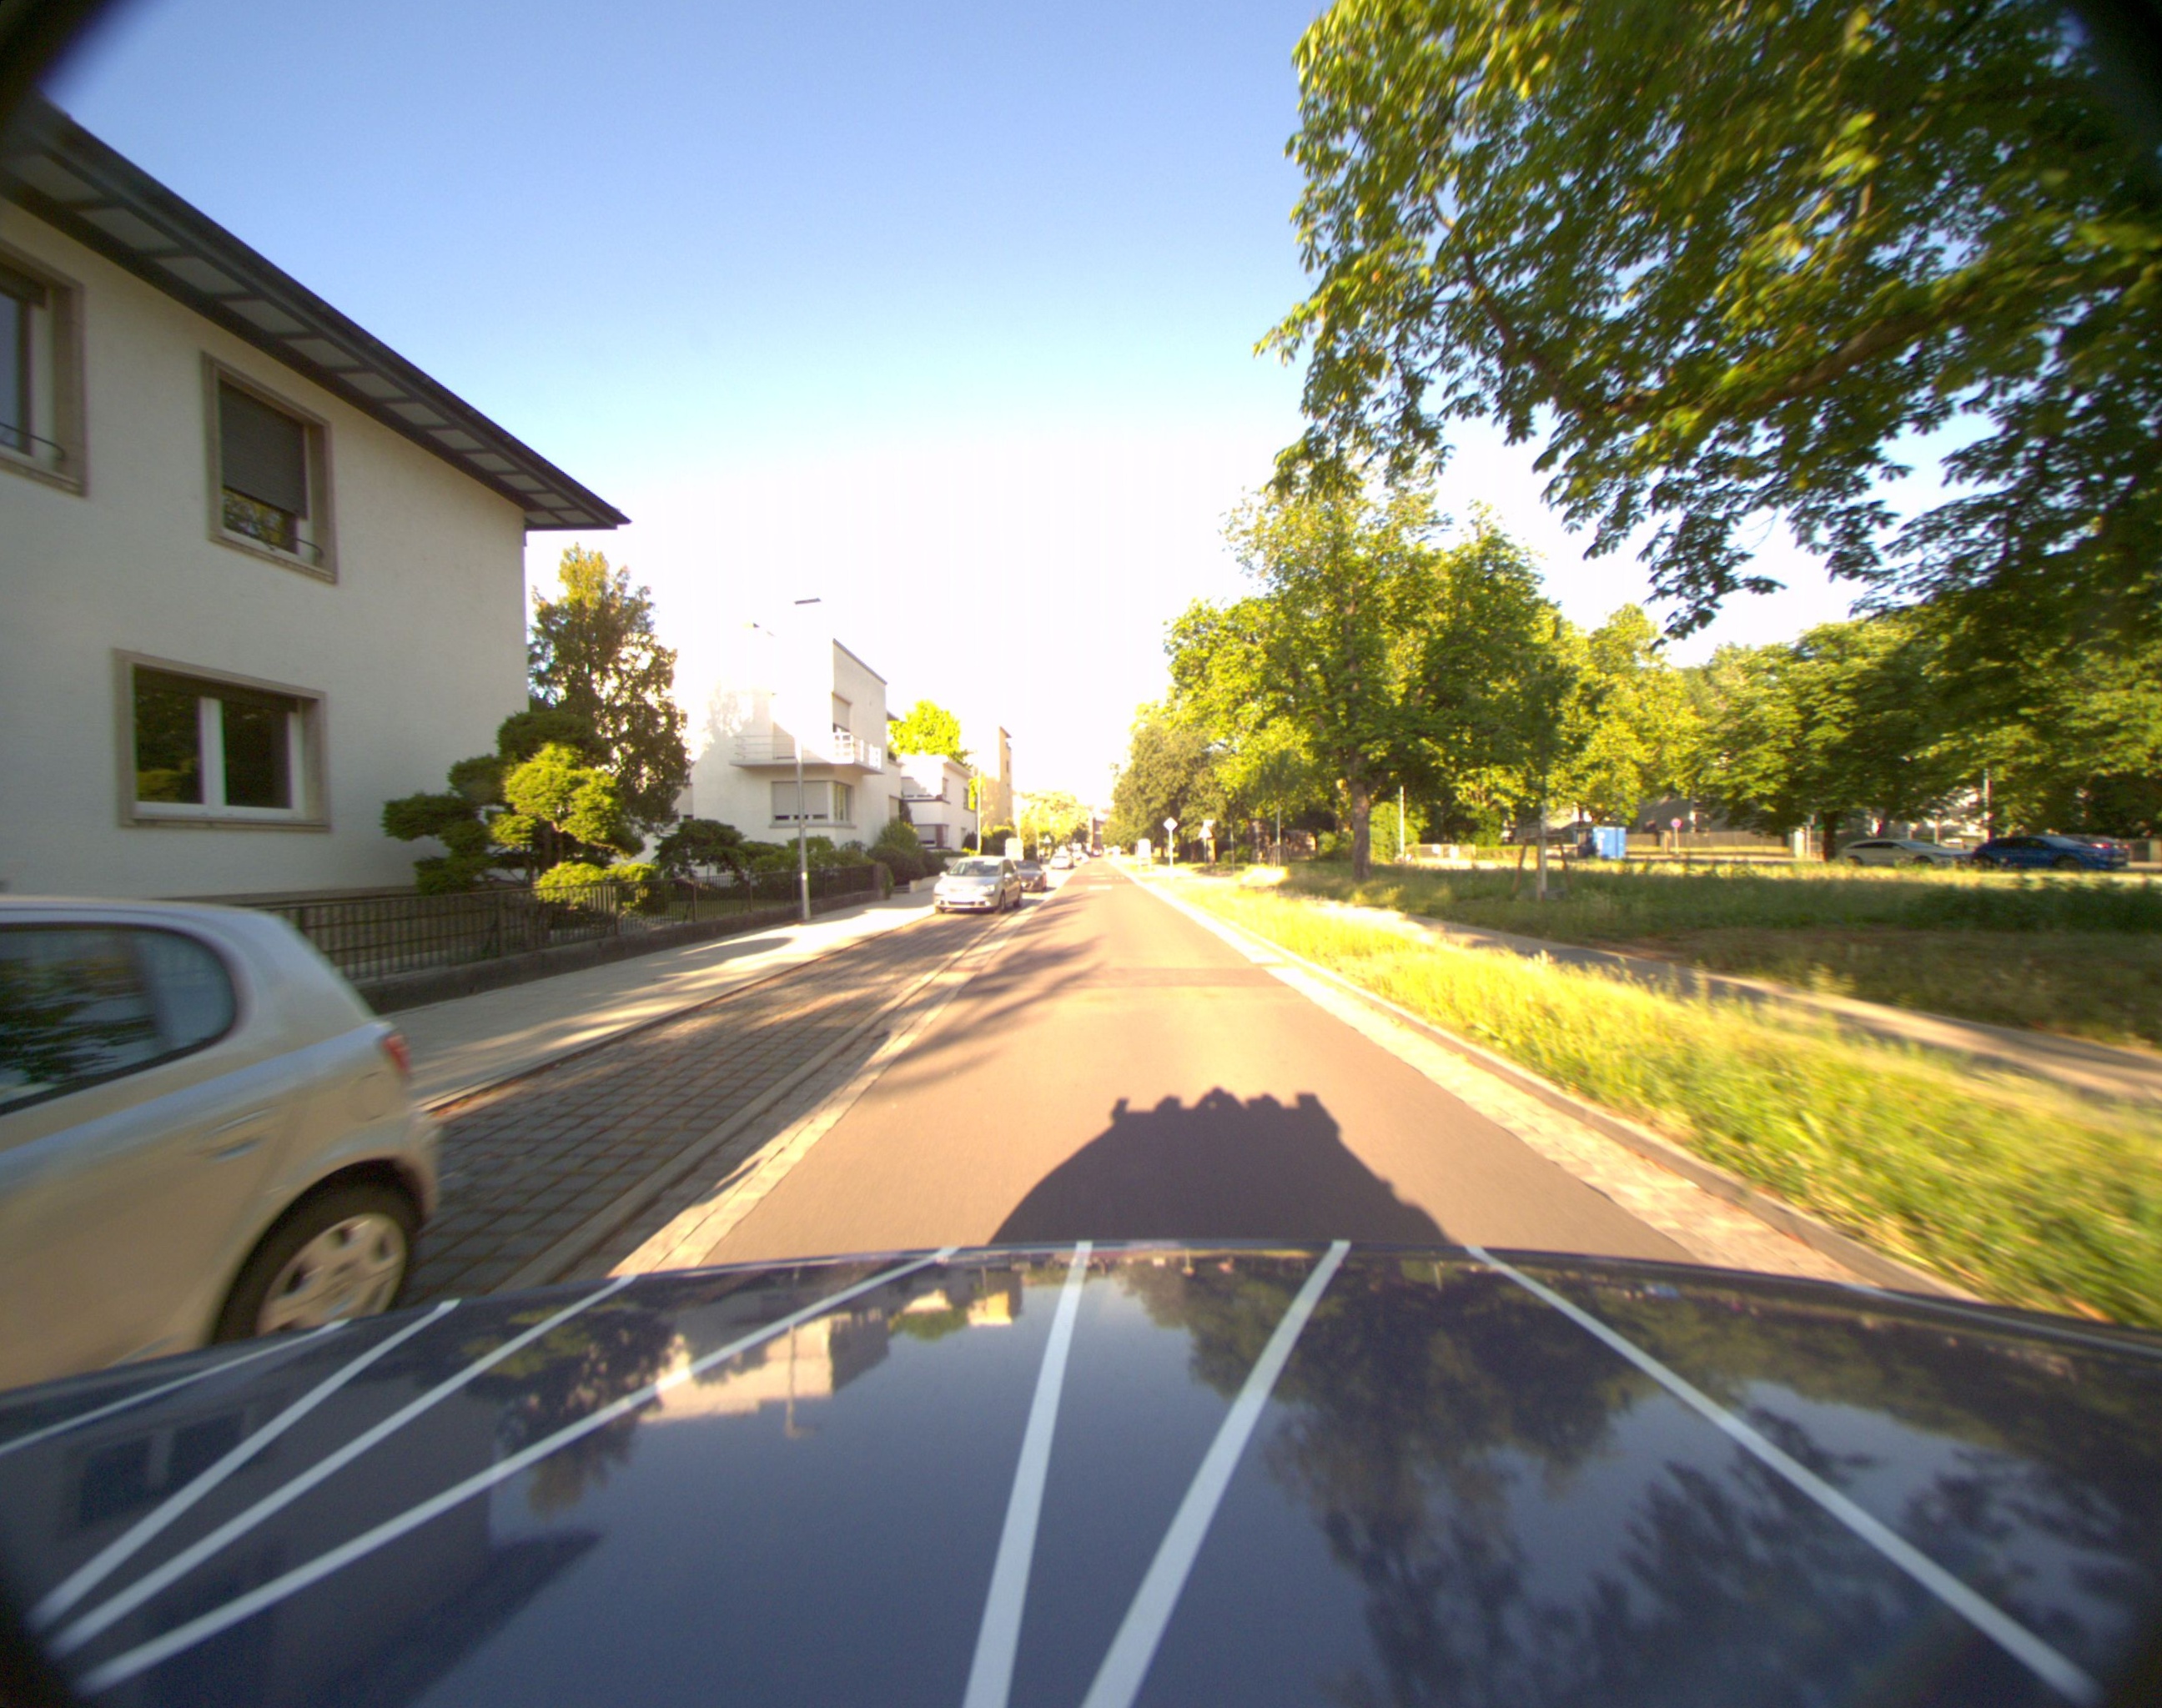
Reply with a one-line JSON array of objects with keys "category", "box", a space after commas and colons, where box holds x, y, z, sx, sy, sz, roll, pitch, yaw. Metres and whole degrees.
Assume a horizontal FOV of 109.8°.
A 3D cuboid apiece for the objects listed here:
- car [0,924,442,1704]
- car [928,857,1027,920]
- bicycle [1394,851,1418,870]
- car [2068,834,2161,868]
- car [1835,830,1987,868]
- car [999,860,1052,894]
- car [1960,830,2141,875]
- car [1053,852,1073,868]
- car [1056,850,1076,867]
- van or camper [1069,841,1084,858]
[{"category": "car", "box": [-3.058, 0.996, 0.800, 1.631, 1.496, 3.633, 0, 0, 2]}, {"category": "car", "box": [-2.675, 0.843, 20.504, 1.748, 1.465, 3.923, 1, 1, 5]}, {"category": "bicycle", "box": [21.054, 0.423, 49.167, 1.591, 1.180, 0.419, -2, 2, -21]}, {"category": "car", "box": [43.548, -0.140, 31.030, 1.574, 1.324, 3.852, -3, 1, 2]}, {"category": "car", "box": [38.041, -0.241, 35.027, 1.697, 1.588, 4.755, -2, 0, -2]}, {"category": "car", "box": [-2.262, 0.914, 31.993, 1.779, 1.281, 4.273, 1, 0, 1]}, {"category": "car", "box": [37.910, -0.073, 29.907, 1.697, 1.588, 4.220, -2, 0, -2]}, {"category": "car", "box": [-1.617, 0.545, 68.409, 1.567, 1.382, 4.374, 0, 1, 1]}, {"category": "car", "box": [-1.404, 0.393, 73.921, 1.682, 1.546, 4.130, 0, 1, 2]}, {"category": "van or camper", "box": [-0.677, -0.787, 126.495, 2.427, 2.767, 5.951, 1, 1, 0]}]
